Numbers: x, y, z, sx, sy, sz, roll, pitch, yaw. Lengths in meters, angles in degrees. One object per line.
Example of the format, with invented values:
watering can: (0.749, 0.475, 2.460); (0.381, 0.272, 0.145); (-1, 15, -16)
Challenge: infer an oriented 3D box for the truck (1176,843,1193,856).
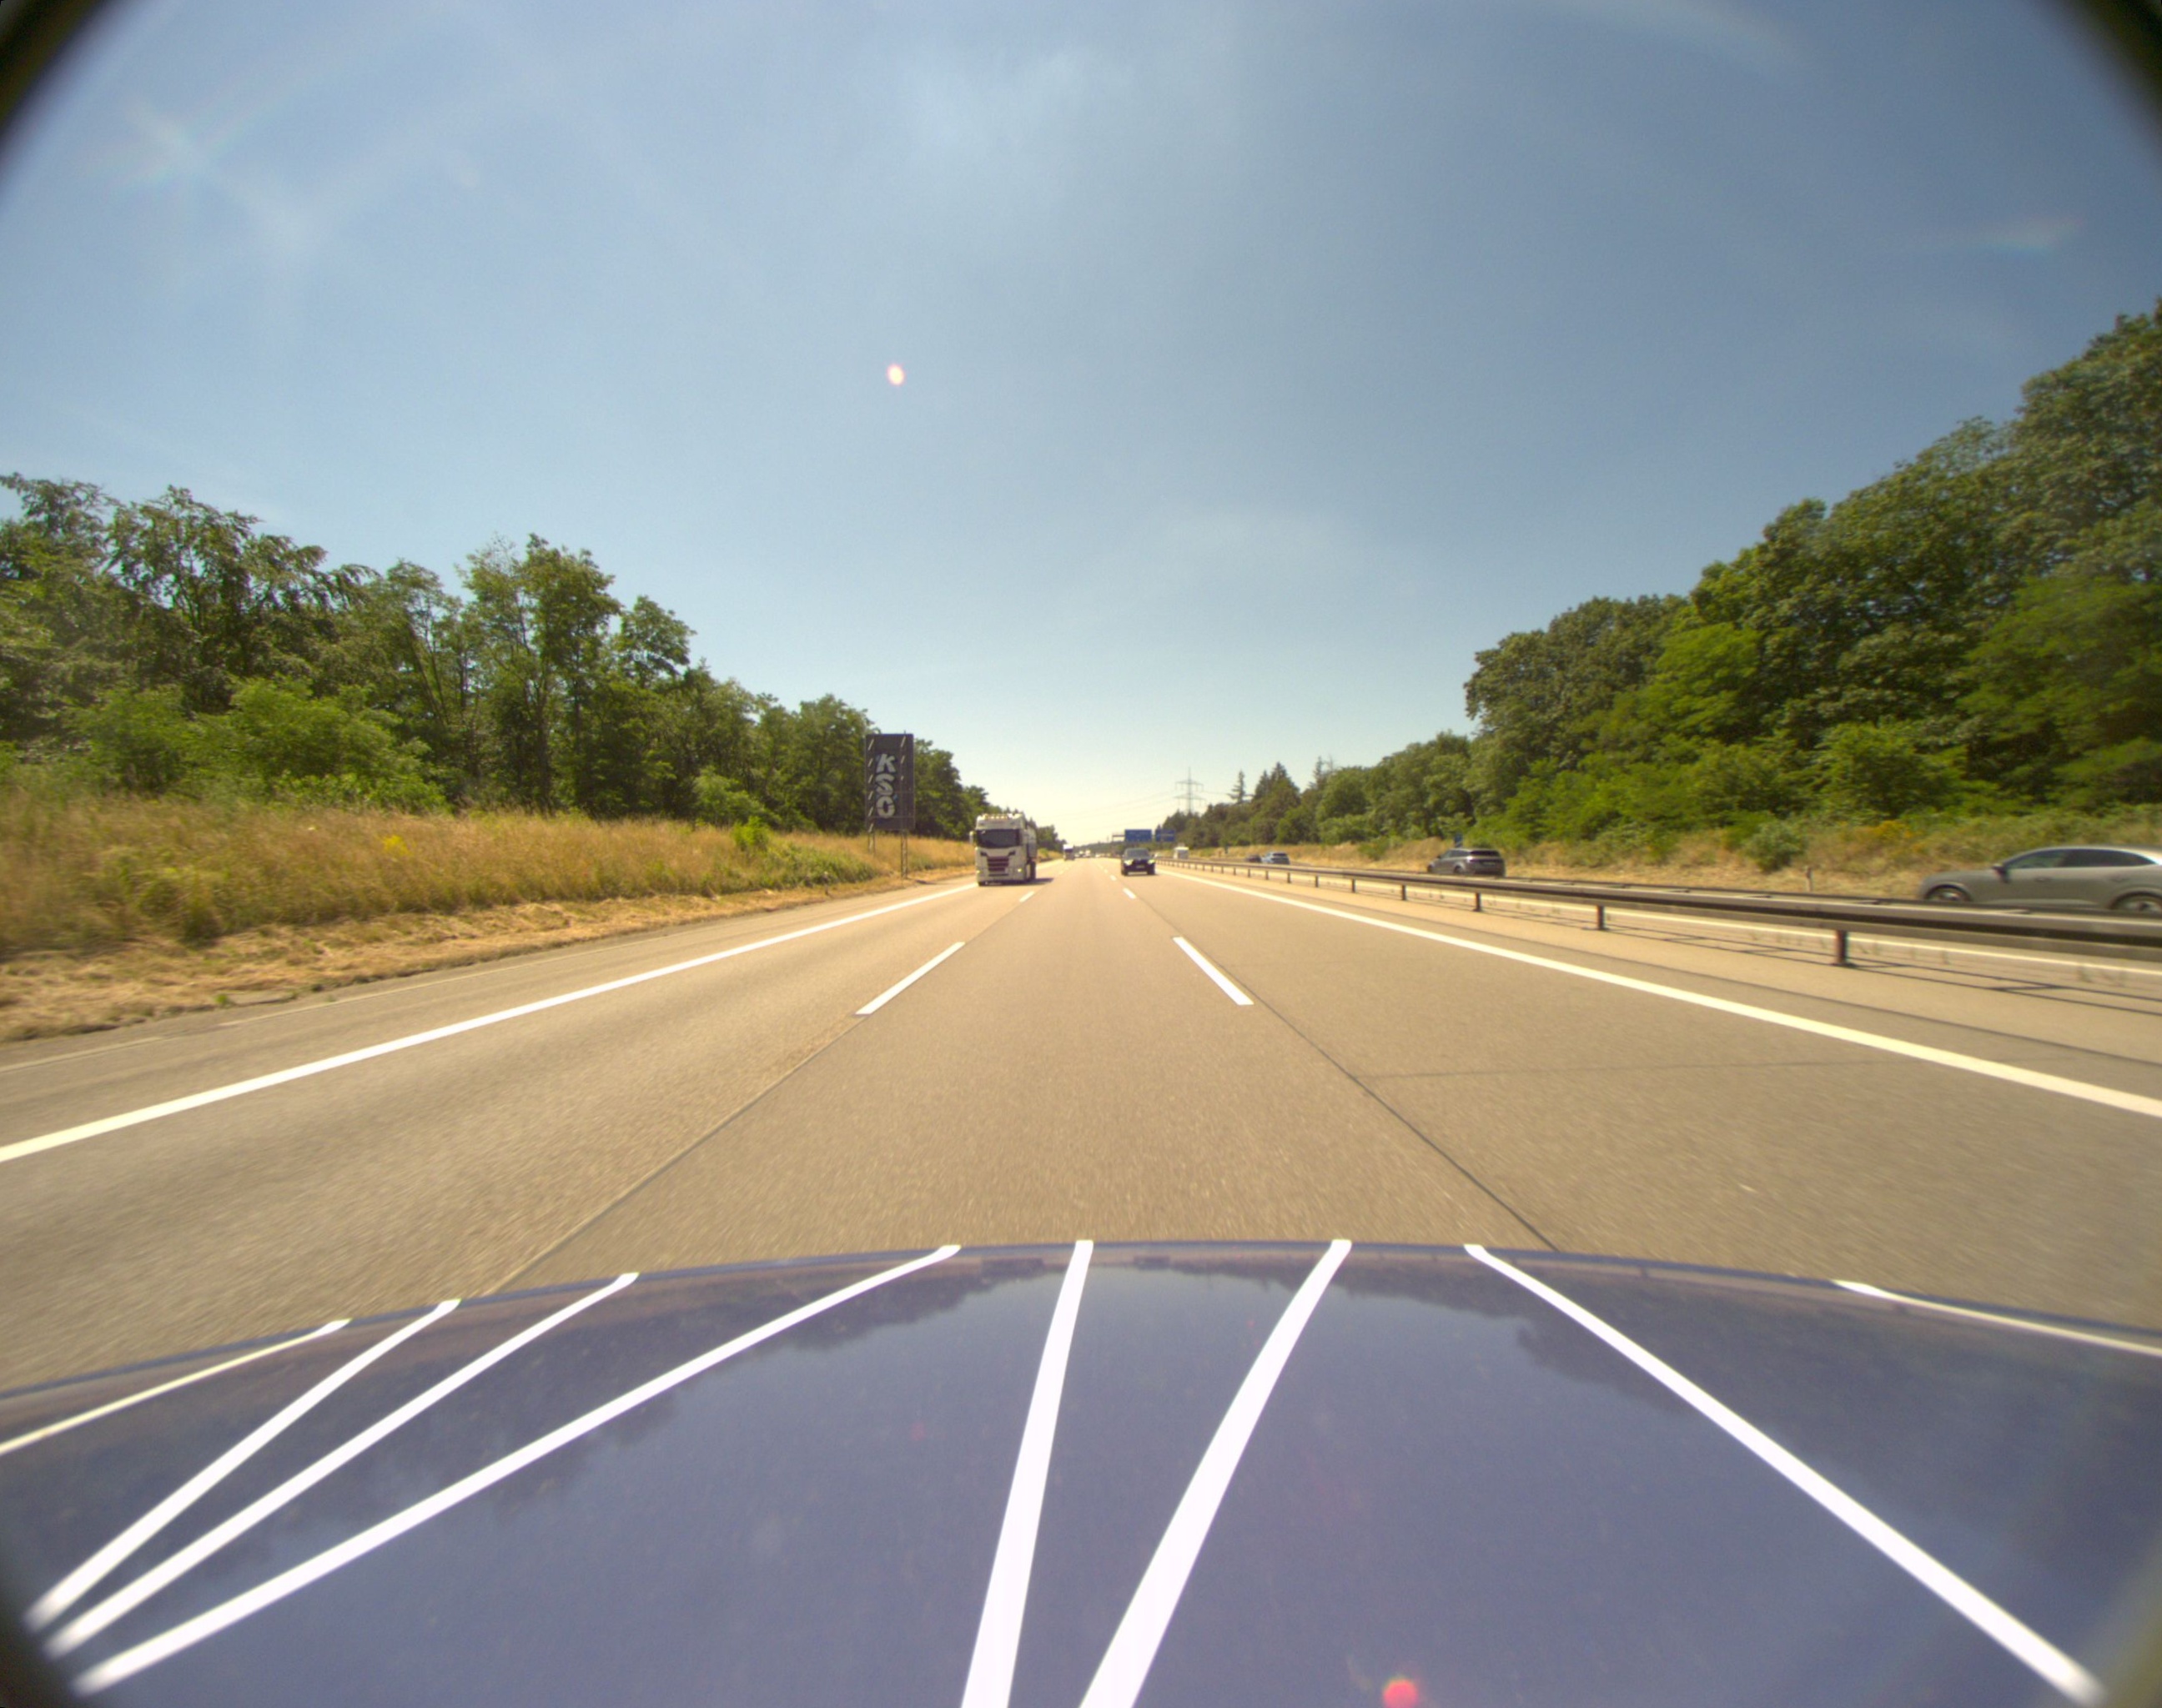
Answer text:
truck: (21.780, -0.911, 159.591); (2.657, 2.657, 6.366); (2, 1, 0)

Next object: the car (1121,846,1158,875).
car: (3.757, 0.400, 50.037); (1.945, 1.742, 5.812); (-2, 0, 0)

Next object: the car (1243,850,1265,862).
car: (22.093, 0.202, 97.165); (1.776, 1.408, 3.870); (2, 0, 0)

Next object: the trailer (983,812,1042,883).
trailer: (-4.039, -0.392, 46.763); (2.605, 3.811, 8.698); (-2, 0, 1)

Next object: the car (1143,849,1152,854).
car: (15.836, -0.561, 180.767); (1.662, 1.248, 3.607); (2, 0, 0)

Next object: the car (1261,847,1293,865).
car: (17.205, 0.136, 66.776); (1.776, 1.513, 3.908); (2, 1, 0)

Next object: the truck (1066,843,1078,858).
truck: (-2.288, -0.886, 192.061); (2.593, 3.534, 8.648); (-2, 0, 1)

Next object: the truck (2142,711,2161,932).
truck: (21.445, -0.552, 11.450); (2.819, 4.095, 5.674); (2, 1, 0)

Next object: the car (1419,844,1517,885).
car: (17.228, 0.416, 34.140); (1.894, 1.671, 4.721); (2, 0, -1)

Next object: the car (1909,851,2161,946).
car: (17.424, 0.697, 12.816); (1.893, 1.426, 4.582); (2, 0, 1)

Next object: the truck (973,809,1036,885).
truck: (-4.090, -0.371, 41.830); (2.605, 3.812, 5.969); (-2, 1, 1)

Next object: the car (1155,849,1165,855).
car: (19.211, -0.529, 185.412); (2.016, 1.408, 3.870); (2, 0, 0)
